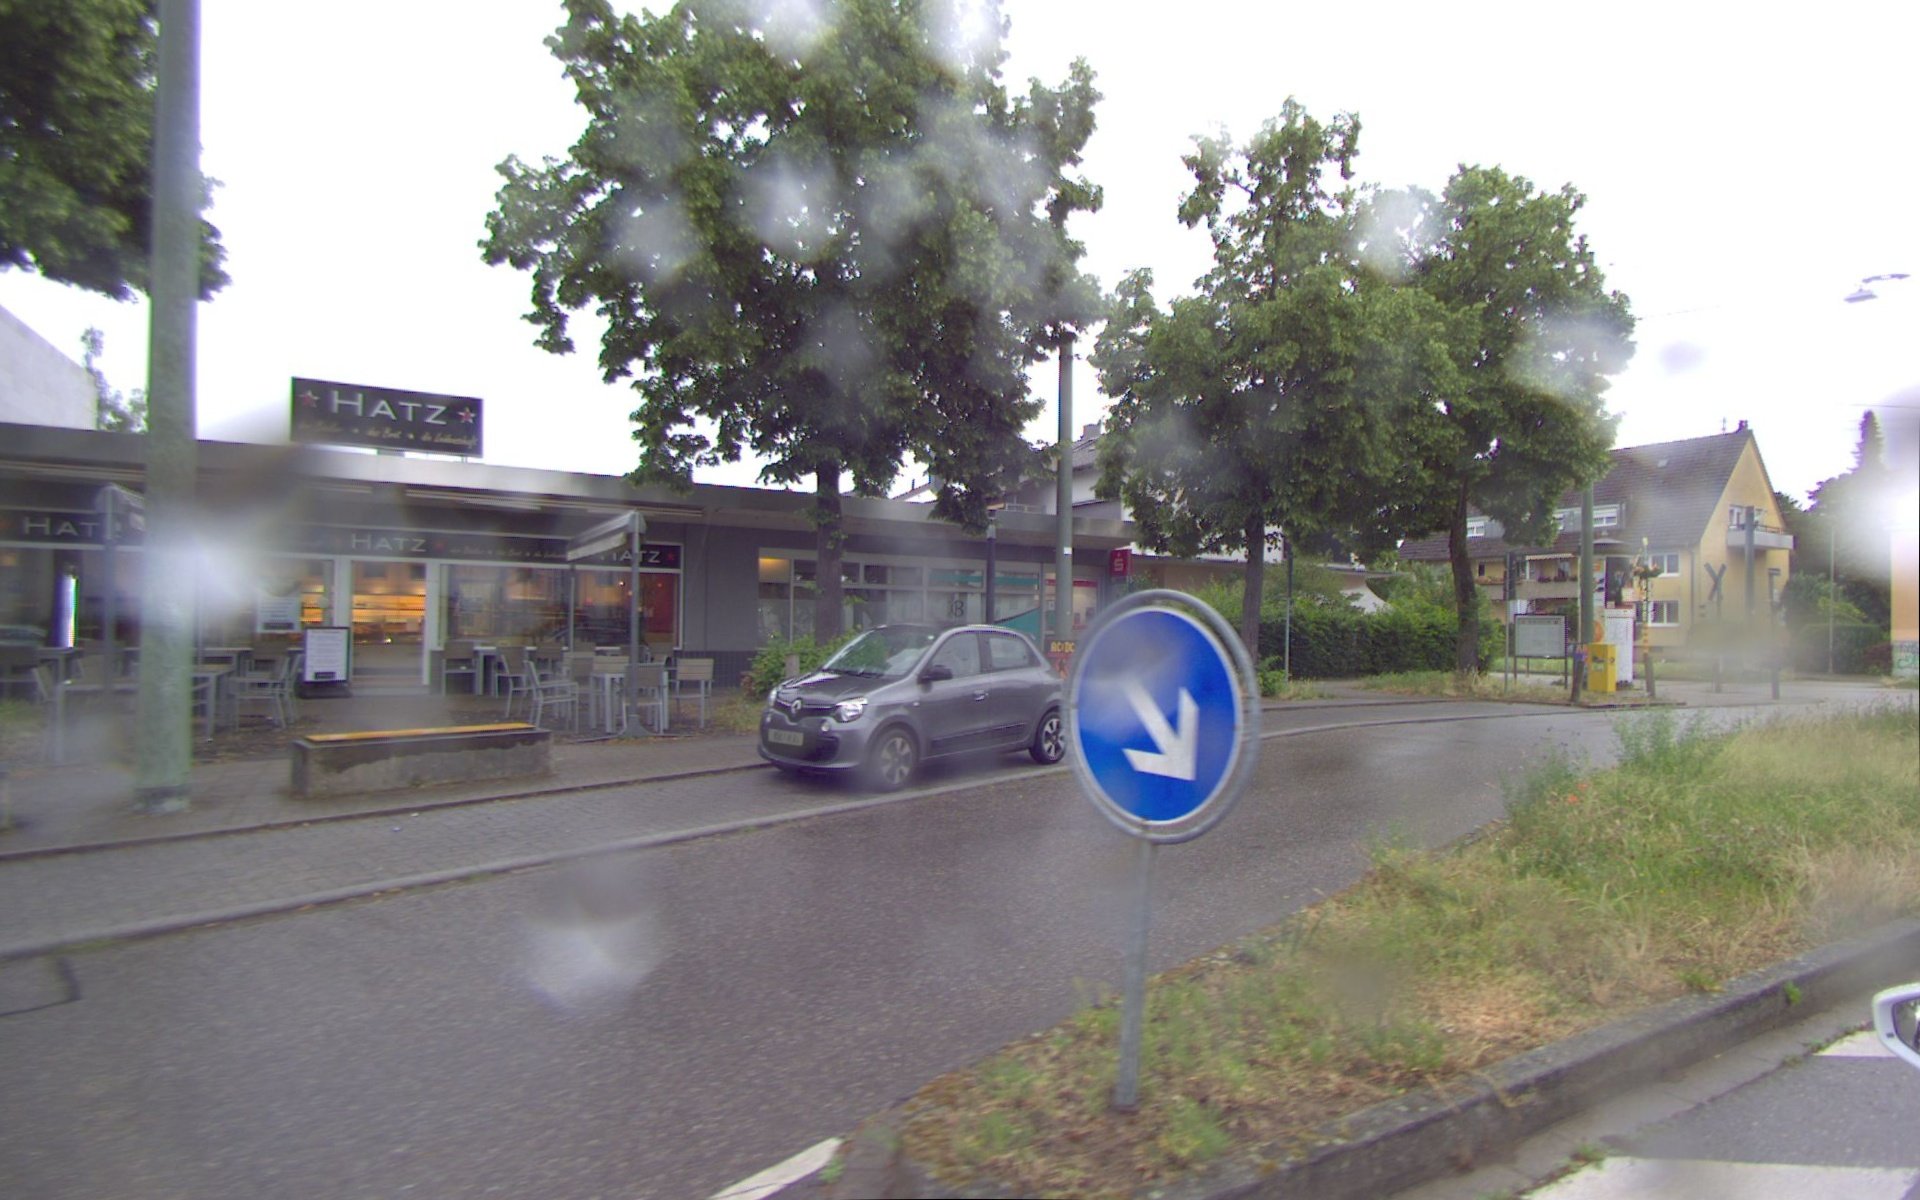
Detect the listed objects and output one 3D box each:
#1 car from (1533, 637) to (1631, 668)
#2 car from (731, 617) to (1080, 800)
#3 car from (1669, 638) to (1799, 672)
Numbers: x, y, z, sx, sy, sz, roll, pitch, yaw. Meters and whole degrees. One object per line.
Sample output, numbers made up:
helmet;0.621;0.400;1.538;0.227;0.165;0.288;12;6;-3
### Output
car;32.450;2.732;52.469;1.742;1.350;3.961;2;0;-34
car;-0.428;0.981;10.499;1.529;1.523;3.604;2;0;42
car;36.045;2.544;46.875;1.947;1.414;4.464;2;-2;-33
